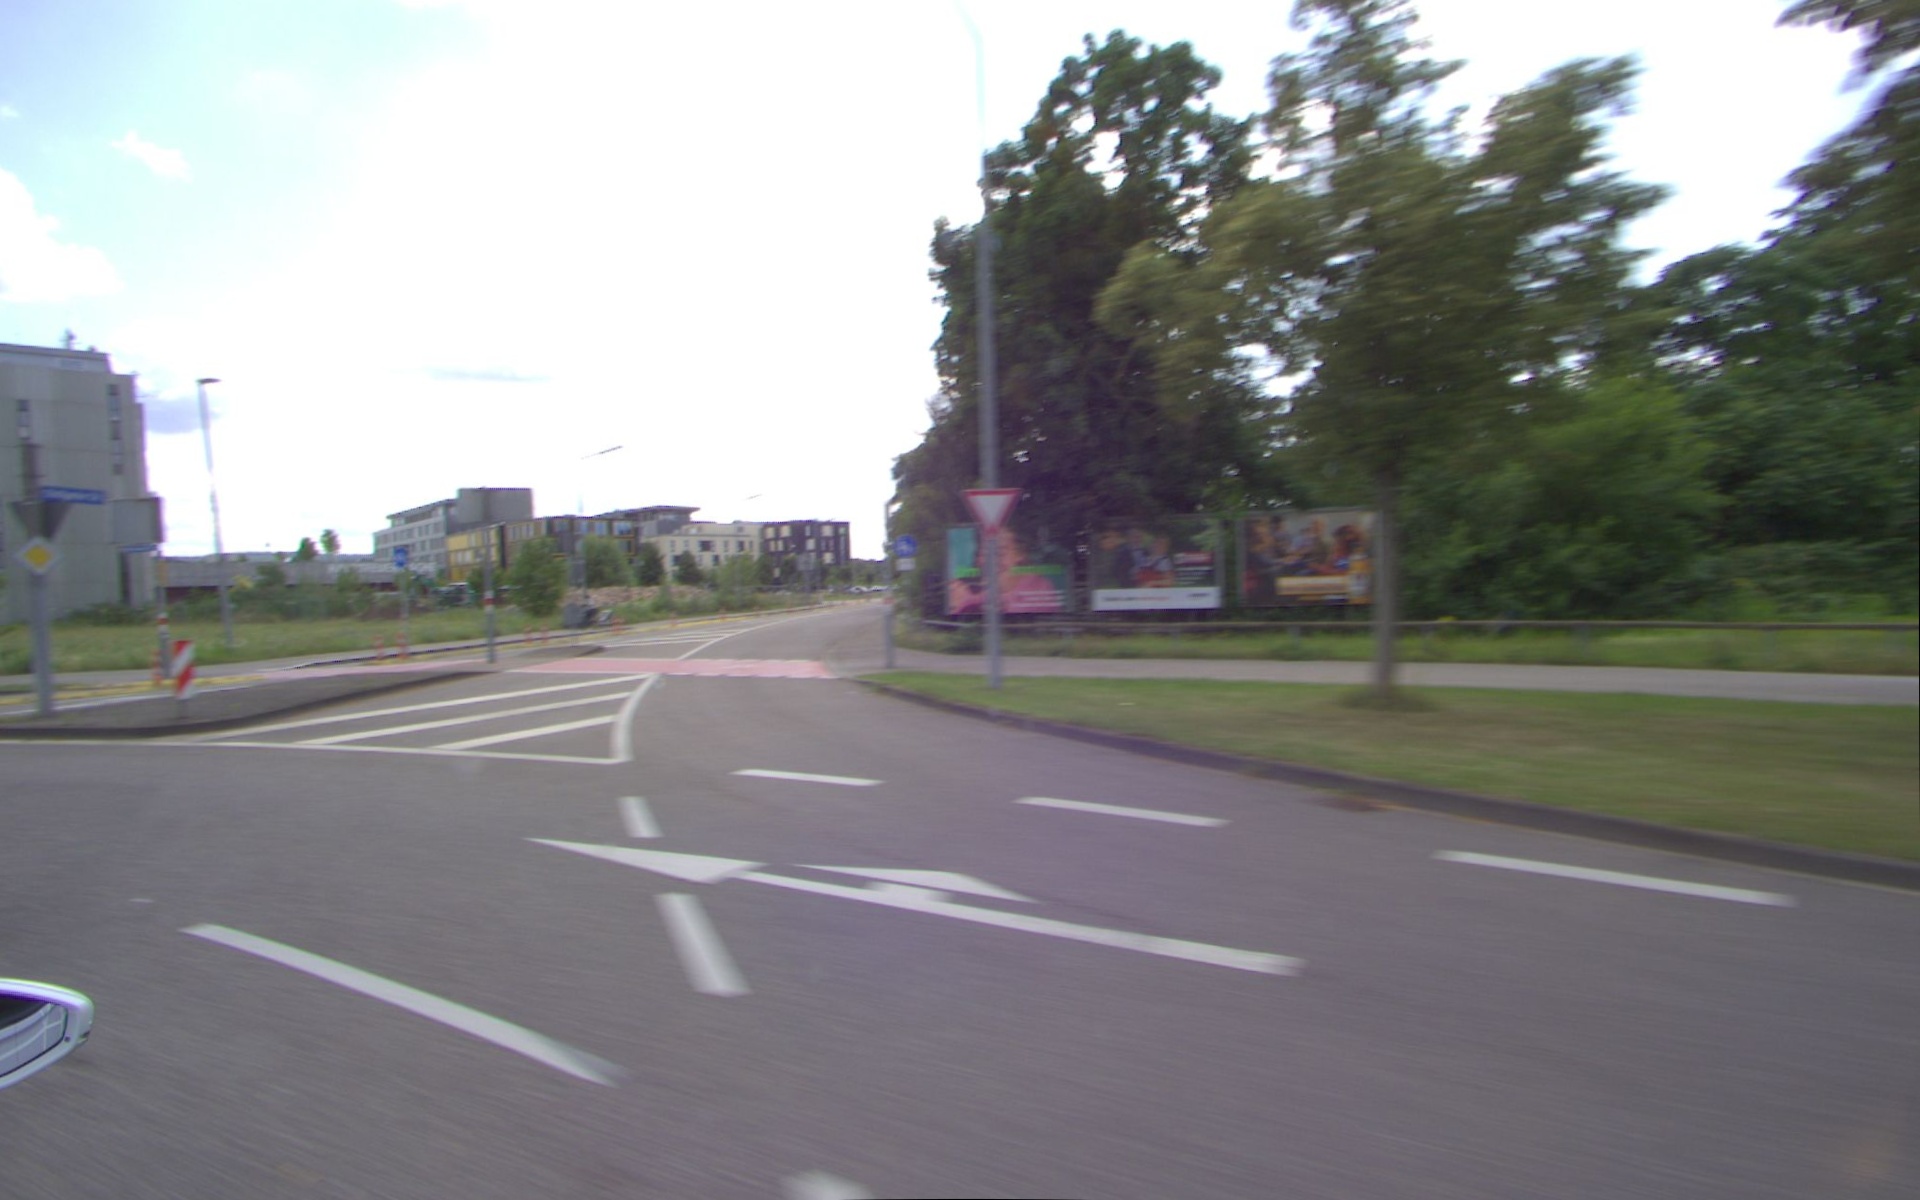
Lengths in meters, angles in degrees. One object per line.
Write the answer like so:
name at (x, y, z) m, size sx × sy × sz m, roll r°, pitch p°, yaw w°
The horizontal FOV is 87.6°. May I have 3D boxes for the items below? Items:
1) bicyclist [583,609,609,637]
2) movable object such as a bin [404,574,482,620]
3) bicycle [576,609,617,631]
bicyclist at (-17.594, 1.098, 48.386) m, size 0.860 × 1.342 × 0.812 m, roll -1°, pitch 0°, yaw 13°
movable object such as a bin at (-46.364, -0.209, 90.104) m, size 2.989 × 3.902 × 7.618 m, roll -1°, pitch -1°, yaw 0°
bicycle at (-17.603, 0.957, 48.538) m, size 0.859 × 1.030 × 2.544 m, roll -1°, pitch -1°, yaw 4°
